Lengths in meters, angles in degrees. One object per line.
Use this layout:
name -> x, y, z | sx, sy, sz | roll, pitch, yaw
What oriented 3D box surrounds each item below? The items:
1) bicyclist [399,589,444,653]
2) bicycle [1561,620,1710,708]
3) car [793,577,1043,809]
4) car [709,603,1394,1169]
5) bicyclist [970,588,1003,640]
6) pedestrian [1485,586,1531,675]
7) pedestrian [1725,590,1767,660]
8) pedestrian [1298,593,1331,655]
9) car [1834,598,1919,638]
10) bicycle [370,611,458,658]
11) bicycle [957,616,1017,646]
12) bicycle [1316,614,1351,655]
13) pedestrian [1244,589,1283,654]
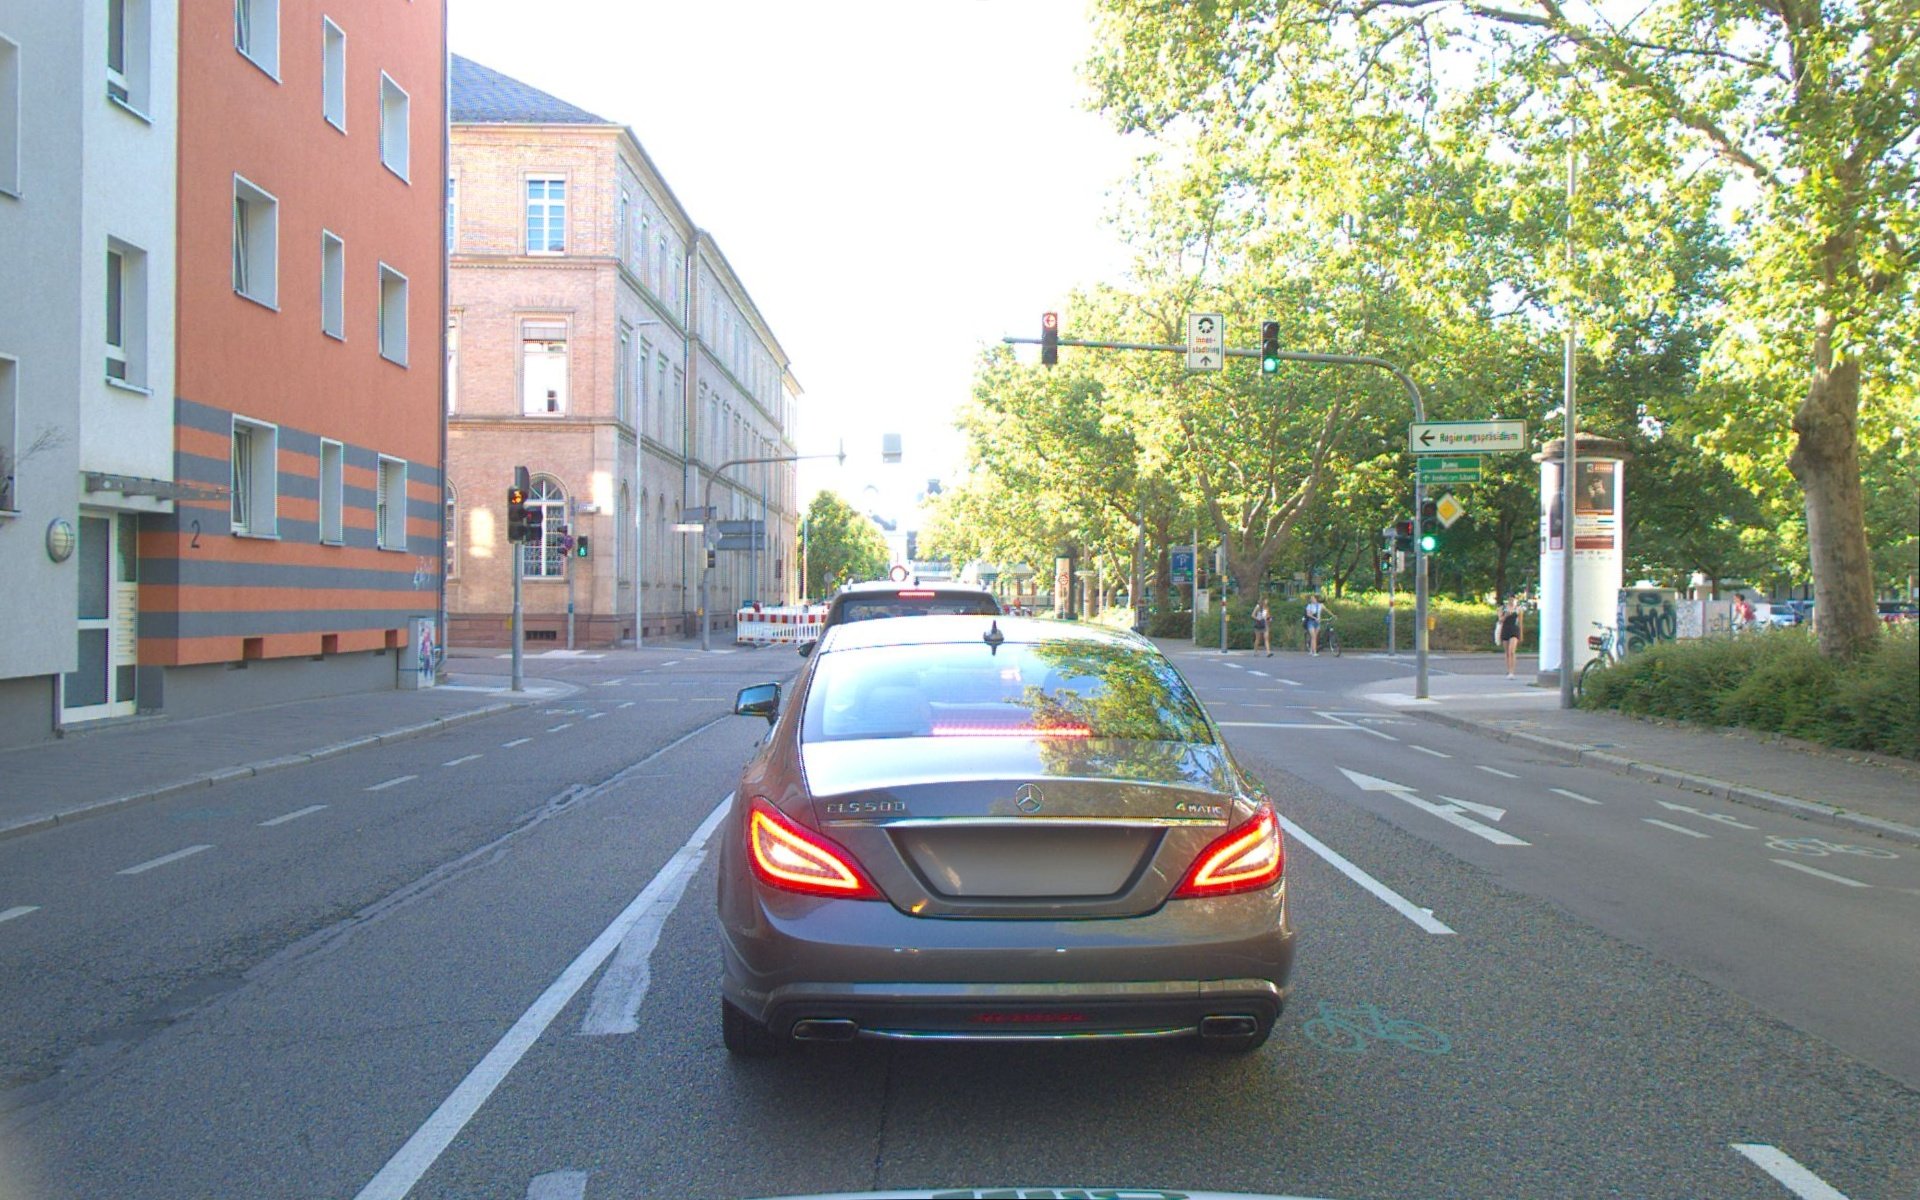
bicyclist -> -13.054, 0.512, 40.087 | 0.933, 1.526, 0.820 | 1, -1, -13
bicycle -> 9.693, 0.909, 23.751 | 1.936, 1.210, 0.528 | 1, -1, -2
car -> -0.269, 0.667, 13.710 | 1.772, 1.641, 4.000 | 0, 0, 1
car -> 0.034, 0.756, 6.603 | 1.807, 1.454, 4.511 | 1, 0, -6
bicyclist -> 0.807, 0.430, 50.689 | 0.796, 1.586, 0.643 | 1, -1, -32
pedestrian -> 10.419, 0.577, 31.472 | 0.781, 1.659, 0.908 | 1, -1, 16
pedestrian -> 21.232, 0.674, 44.712 | 0.765, 1.867, 0.685 | 1, -1, -8
pedestrian -> 10.138, 0.684, 47.290 | 0.670, 1.727, 0.970 | 1, 0, -4
car -> 36.260, 0.687, 65.140 | 1.596, 1.508, 3.794 | 1, 0, -2
bicycle -> -13.195, 0.831, 40.032 | 1.922, 1.081, 0.704 | 1, 0, -13
bicycle -> 0.835, 0.952, 50.708 | 1.843, 0.906, 0.544 | 1, -1, -32
bicycle -> 10.626, 0.980, 47.102 | 0.514, 1.119, 1.740 | 1, 0, -3
pedestrian -> 8.627, 0.617, 46.992 | 0.721, 1.840, 0.904 | 0, -1, -19
